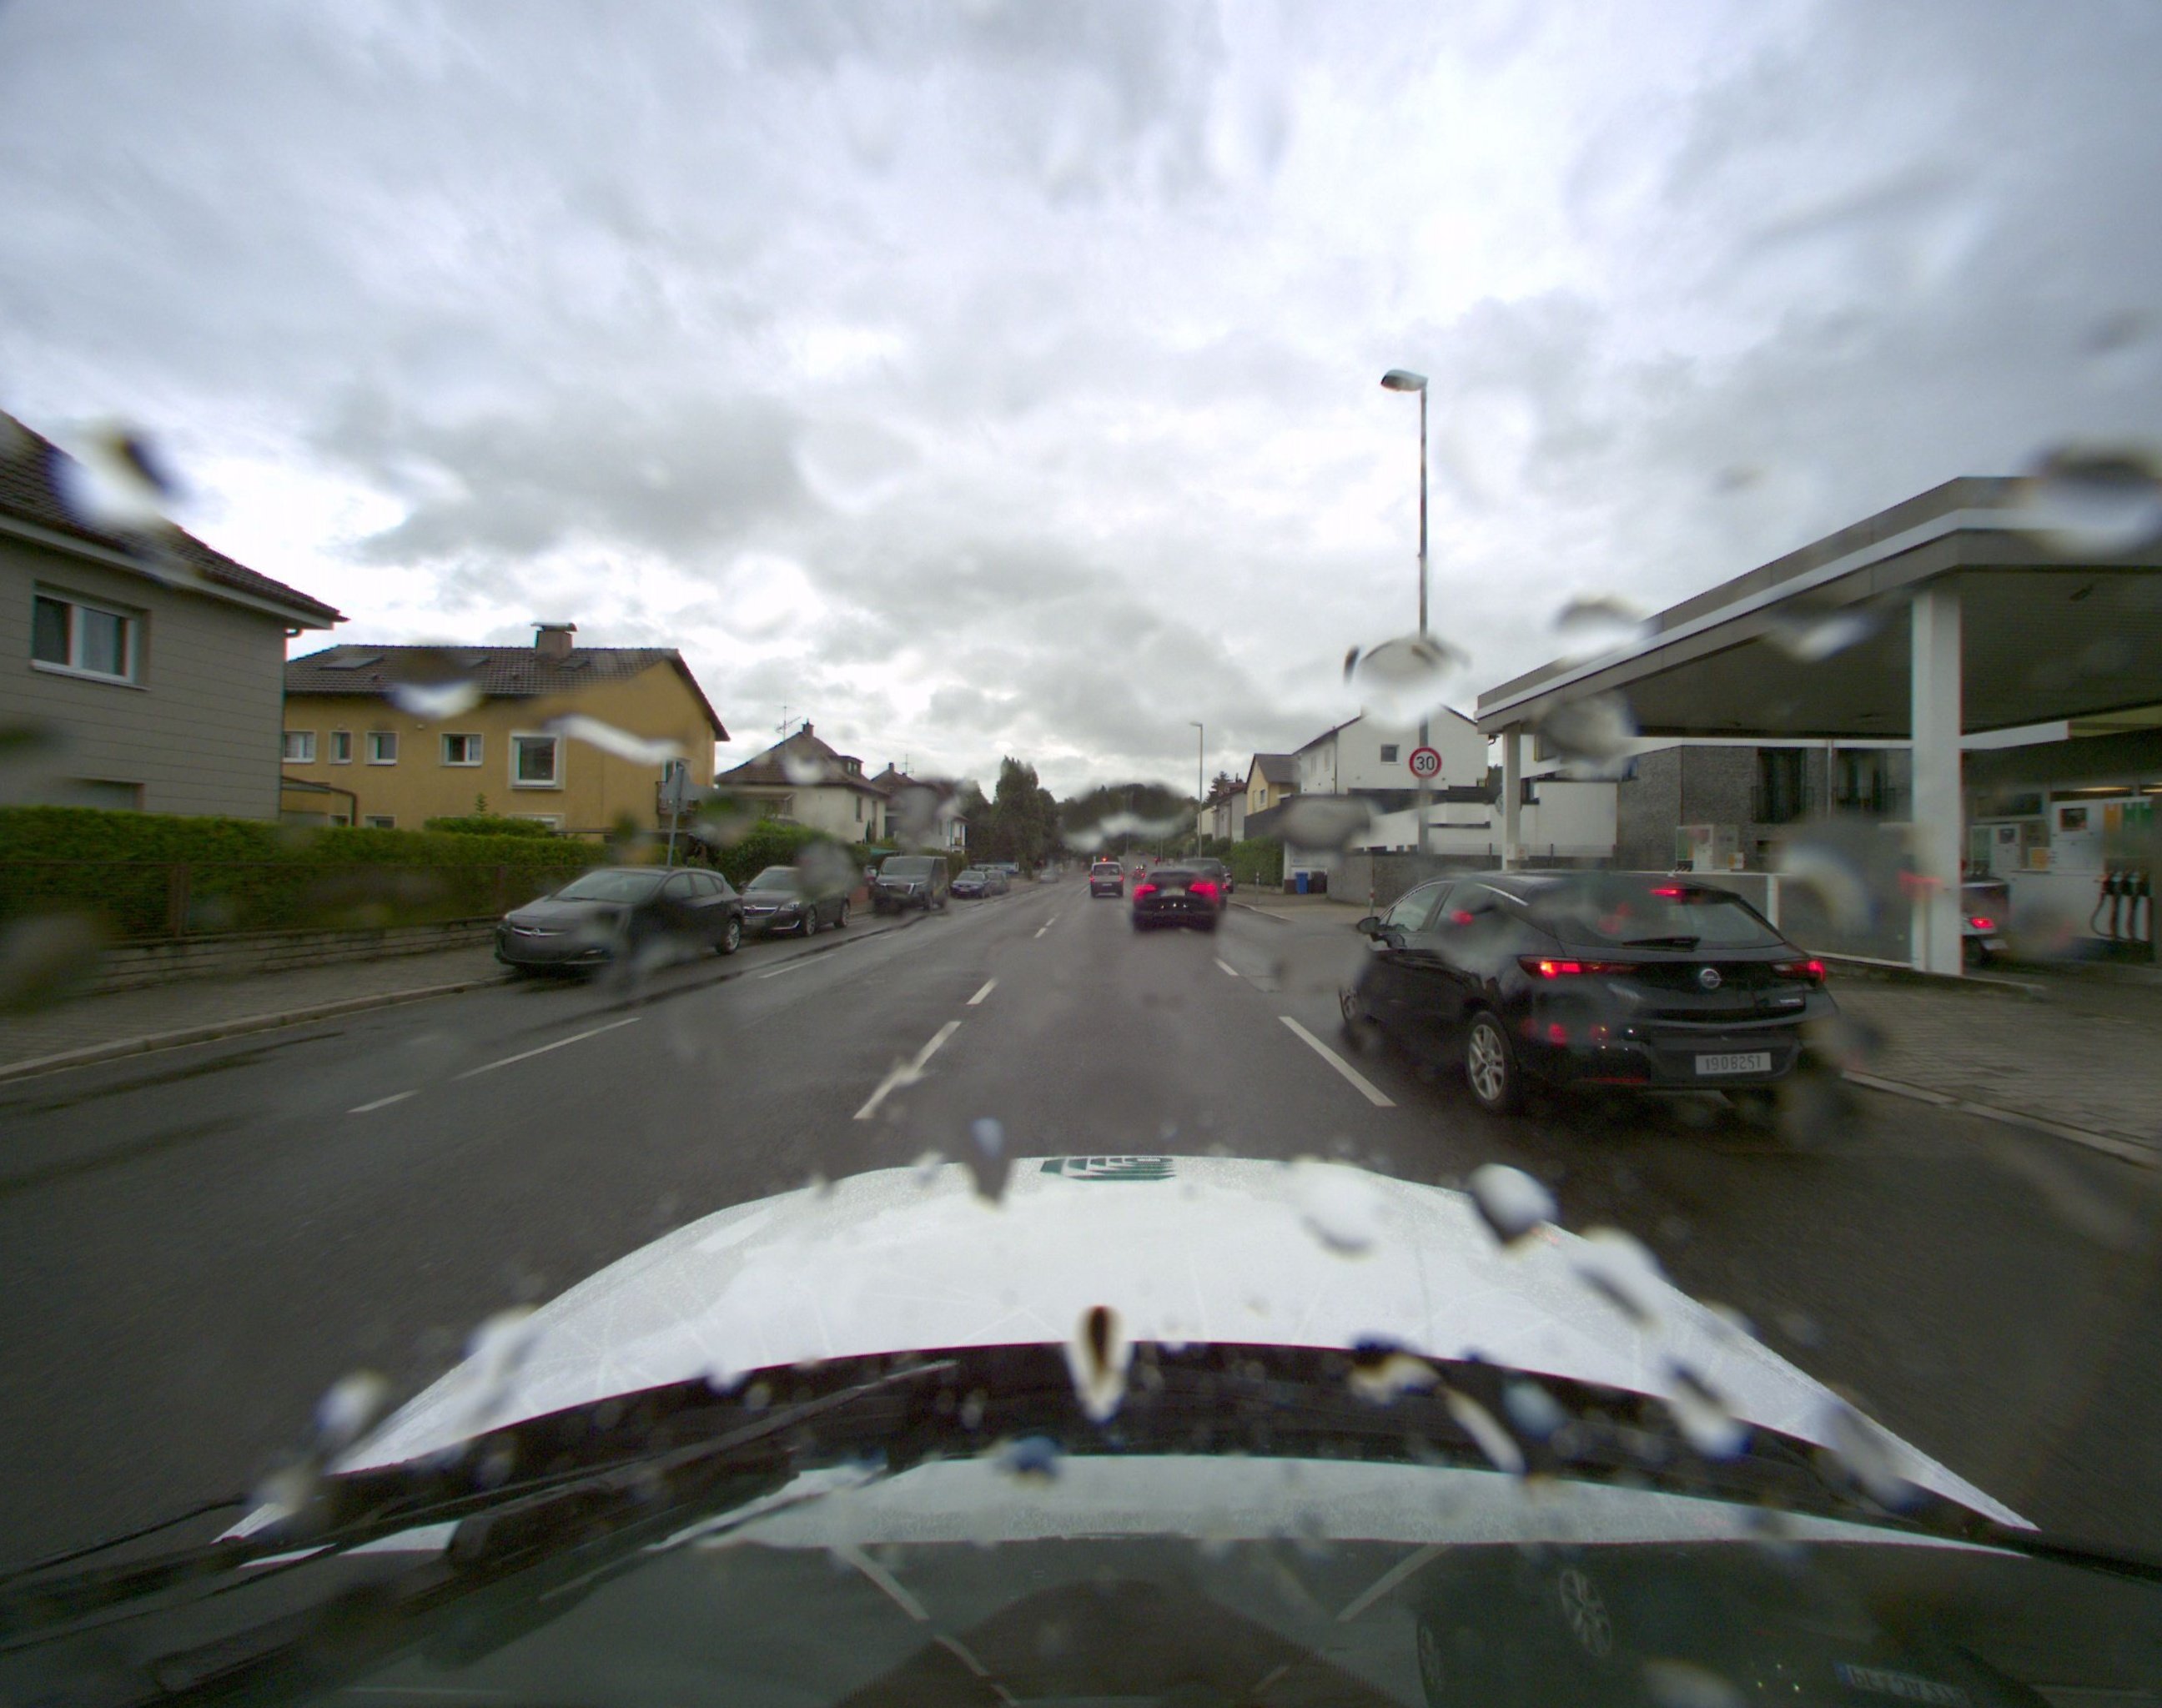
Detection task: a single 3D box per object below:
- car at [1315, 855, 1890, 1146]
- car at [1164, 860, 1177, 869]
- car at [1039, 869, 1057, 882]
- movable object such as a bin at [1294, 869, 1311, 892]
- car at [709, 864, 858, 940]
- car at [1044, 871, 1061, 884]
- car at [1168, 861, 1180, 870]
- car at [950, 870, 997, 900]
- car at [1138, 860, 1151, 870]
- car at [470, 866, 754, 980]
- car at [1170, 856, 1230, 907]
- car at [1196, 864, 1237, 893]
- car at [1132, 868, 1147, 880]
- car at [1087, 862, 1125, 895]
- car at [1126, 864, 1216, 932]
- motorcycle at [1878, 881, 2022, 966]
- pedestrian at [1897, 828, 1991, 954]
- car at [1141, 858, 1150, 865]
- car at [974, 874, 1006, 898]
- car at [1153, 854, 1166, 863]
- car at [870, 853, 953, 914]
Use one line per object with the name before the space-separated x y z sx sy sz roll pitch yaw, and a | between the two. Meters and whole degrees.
car | 3.193 0.762 6.086 1.750 1.449 3.999 0 -1 0
car | 22.934 2.707 207.962 2.515 2.013 5.605 1 2 -2
car | -3.939 2.537 97.146 1.877 1.585 4.002 0 -1 2
movable object such as a bin | 10.718 1.283 39.435 0.593 1.105 0.667 -3 -1 1
car | -6.617 1.025 18.704 1.744 1.517 4.526 0 -1 0
car | -3.621 2.988 103.855 1.877 1.585 4.002 0 -1 2
car | 21.752 2.664 190.047 2.510 2.013 5.615 1 2 4
car | -5.788 1.640 44.351 1.749 1.533 4.290 0 -1 3
car | 14.122 2.487 181.856 2.512 2.013 5.611 1 2 2
car | -6.792 0.929 12.414 1.743 1.440 4.132 0 -1 3
car | 4.372 1.002 30.456 1.831 1.767 4.002 0 -1 2
car | 7.500 1.356 45.508 1.694 1.510 4.535 0 -1 2
car | 8.251 2.803 115.191 1.986 1.578 4.001 -2 0 1
car | 1.406 1.322 44.661 1.986 1.738 4.002 0 -1 2
car | 2.094 1.007 19.913 1.985 1.484 4.003 0 -1 3
motorcycle | 11.617 0.892 10.943 0.460 1.055 1.391 0 -1 2
pedestrian | 11.636 0.492 10.999 0.607 1.656 0.586 0 -2 2
car | 16.291 1.818 204.813 1.986 1.772 4.002 -2 0 2
car | -5.581 1.946 50.463 1.546 1.431 4.013 0 -1 0
car | 21.709 1.280 224.902 2.518 2.013 5.598 1 4 -6
car | -5.941 1.029 29.232 1.907 2.003 5.086 0 -1 0
